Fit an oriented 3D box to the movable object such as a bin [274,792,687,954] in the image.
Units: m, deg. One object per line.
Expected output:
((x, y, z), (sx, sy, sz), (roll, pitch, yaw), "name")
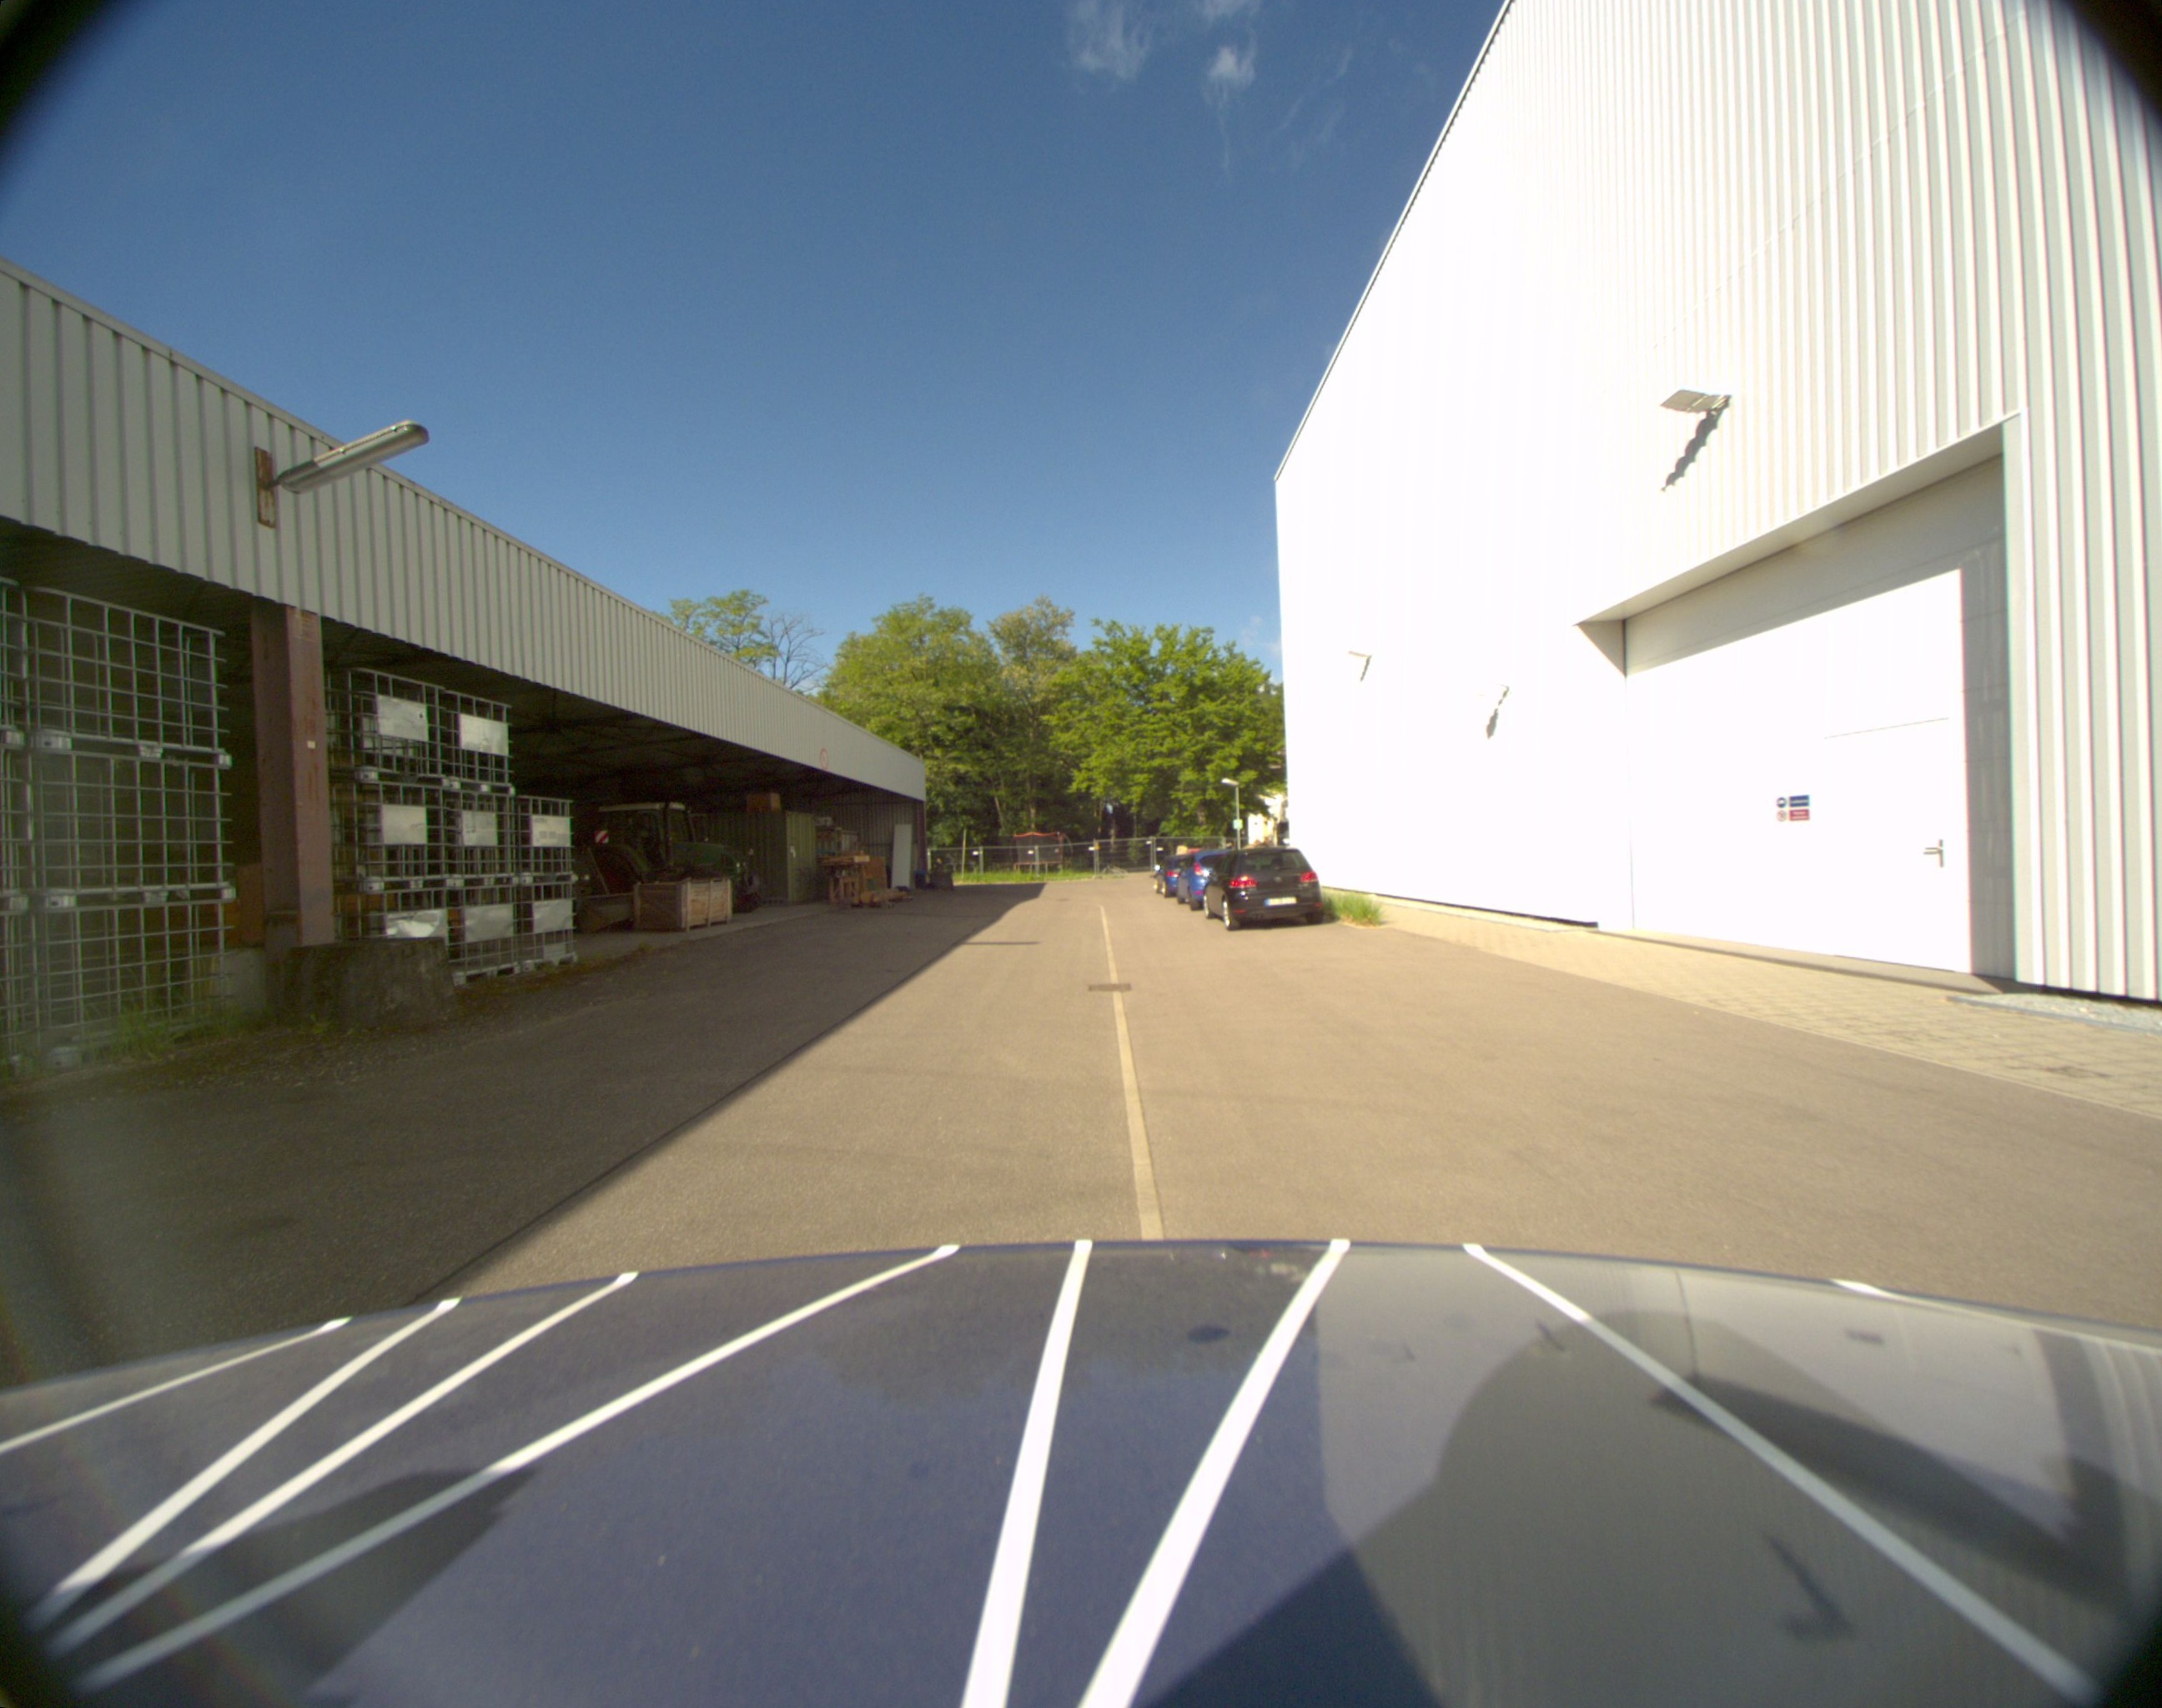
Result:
((-12.232, 0.361, 15.973), (6.200, 2.893, 3.016), (-2, 1, 2), "movable object such as a bin")

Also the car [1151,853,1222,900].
((3.468, 0.697, 25.566), (1.778, 1.353, 4.053), (-3, 0, 0), "car")

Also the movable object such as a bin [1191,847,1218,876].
((6.639, 0.396, 41.014), (1.093, 1.424, 1.230), (-4, 2, -5), "movable object such as a bin")

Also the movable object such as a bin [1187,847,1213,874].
((6.616, 0.353, 42.347), (1.093, 1.431, 1.230), (-4, 2, -5), "movable object such as a bin")

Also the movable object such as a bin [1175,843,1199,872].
((6.161, 0.213, 44.246), (1.093, 1.588, 1.230), (-3, 3, -5), "movable object such as a bin")

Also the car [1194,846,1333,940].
((3.456, 0.659, 15.221), (1.759, 1.491, 4.294), (-4, 0, 1), "car")

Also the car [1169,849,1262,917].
((3.431, 0.676, 20.119), (1.635, 1.491, 4.094), (-5, 0, 0), "car")

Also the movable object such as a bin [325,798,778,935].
((-12.993, 0.299, 19.288), (9.214, 2.893, 3.212), (-2, 1, 2), "movable object such as a bin")
